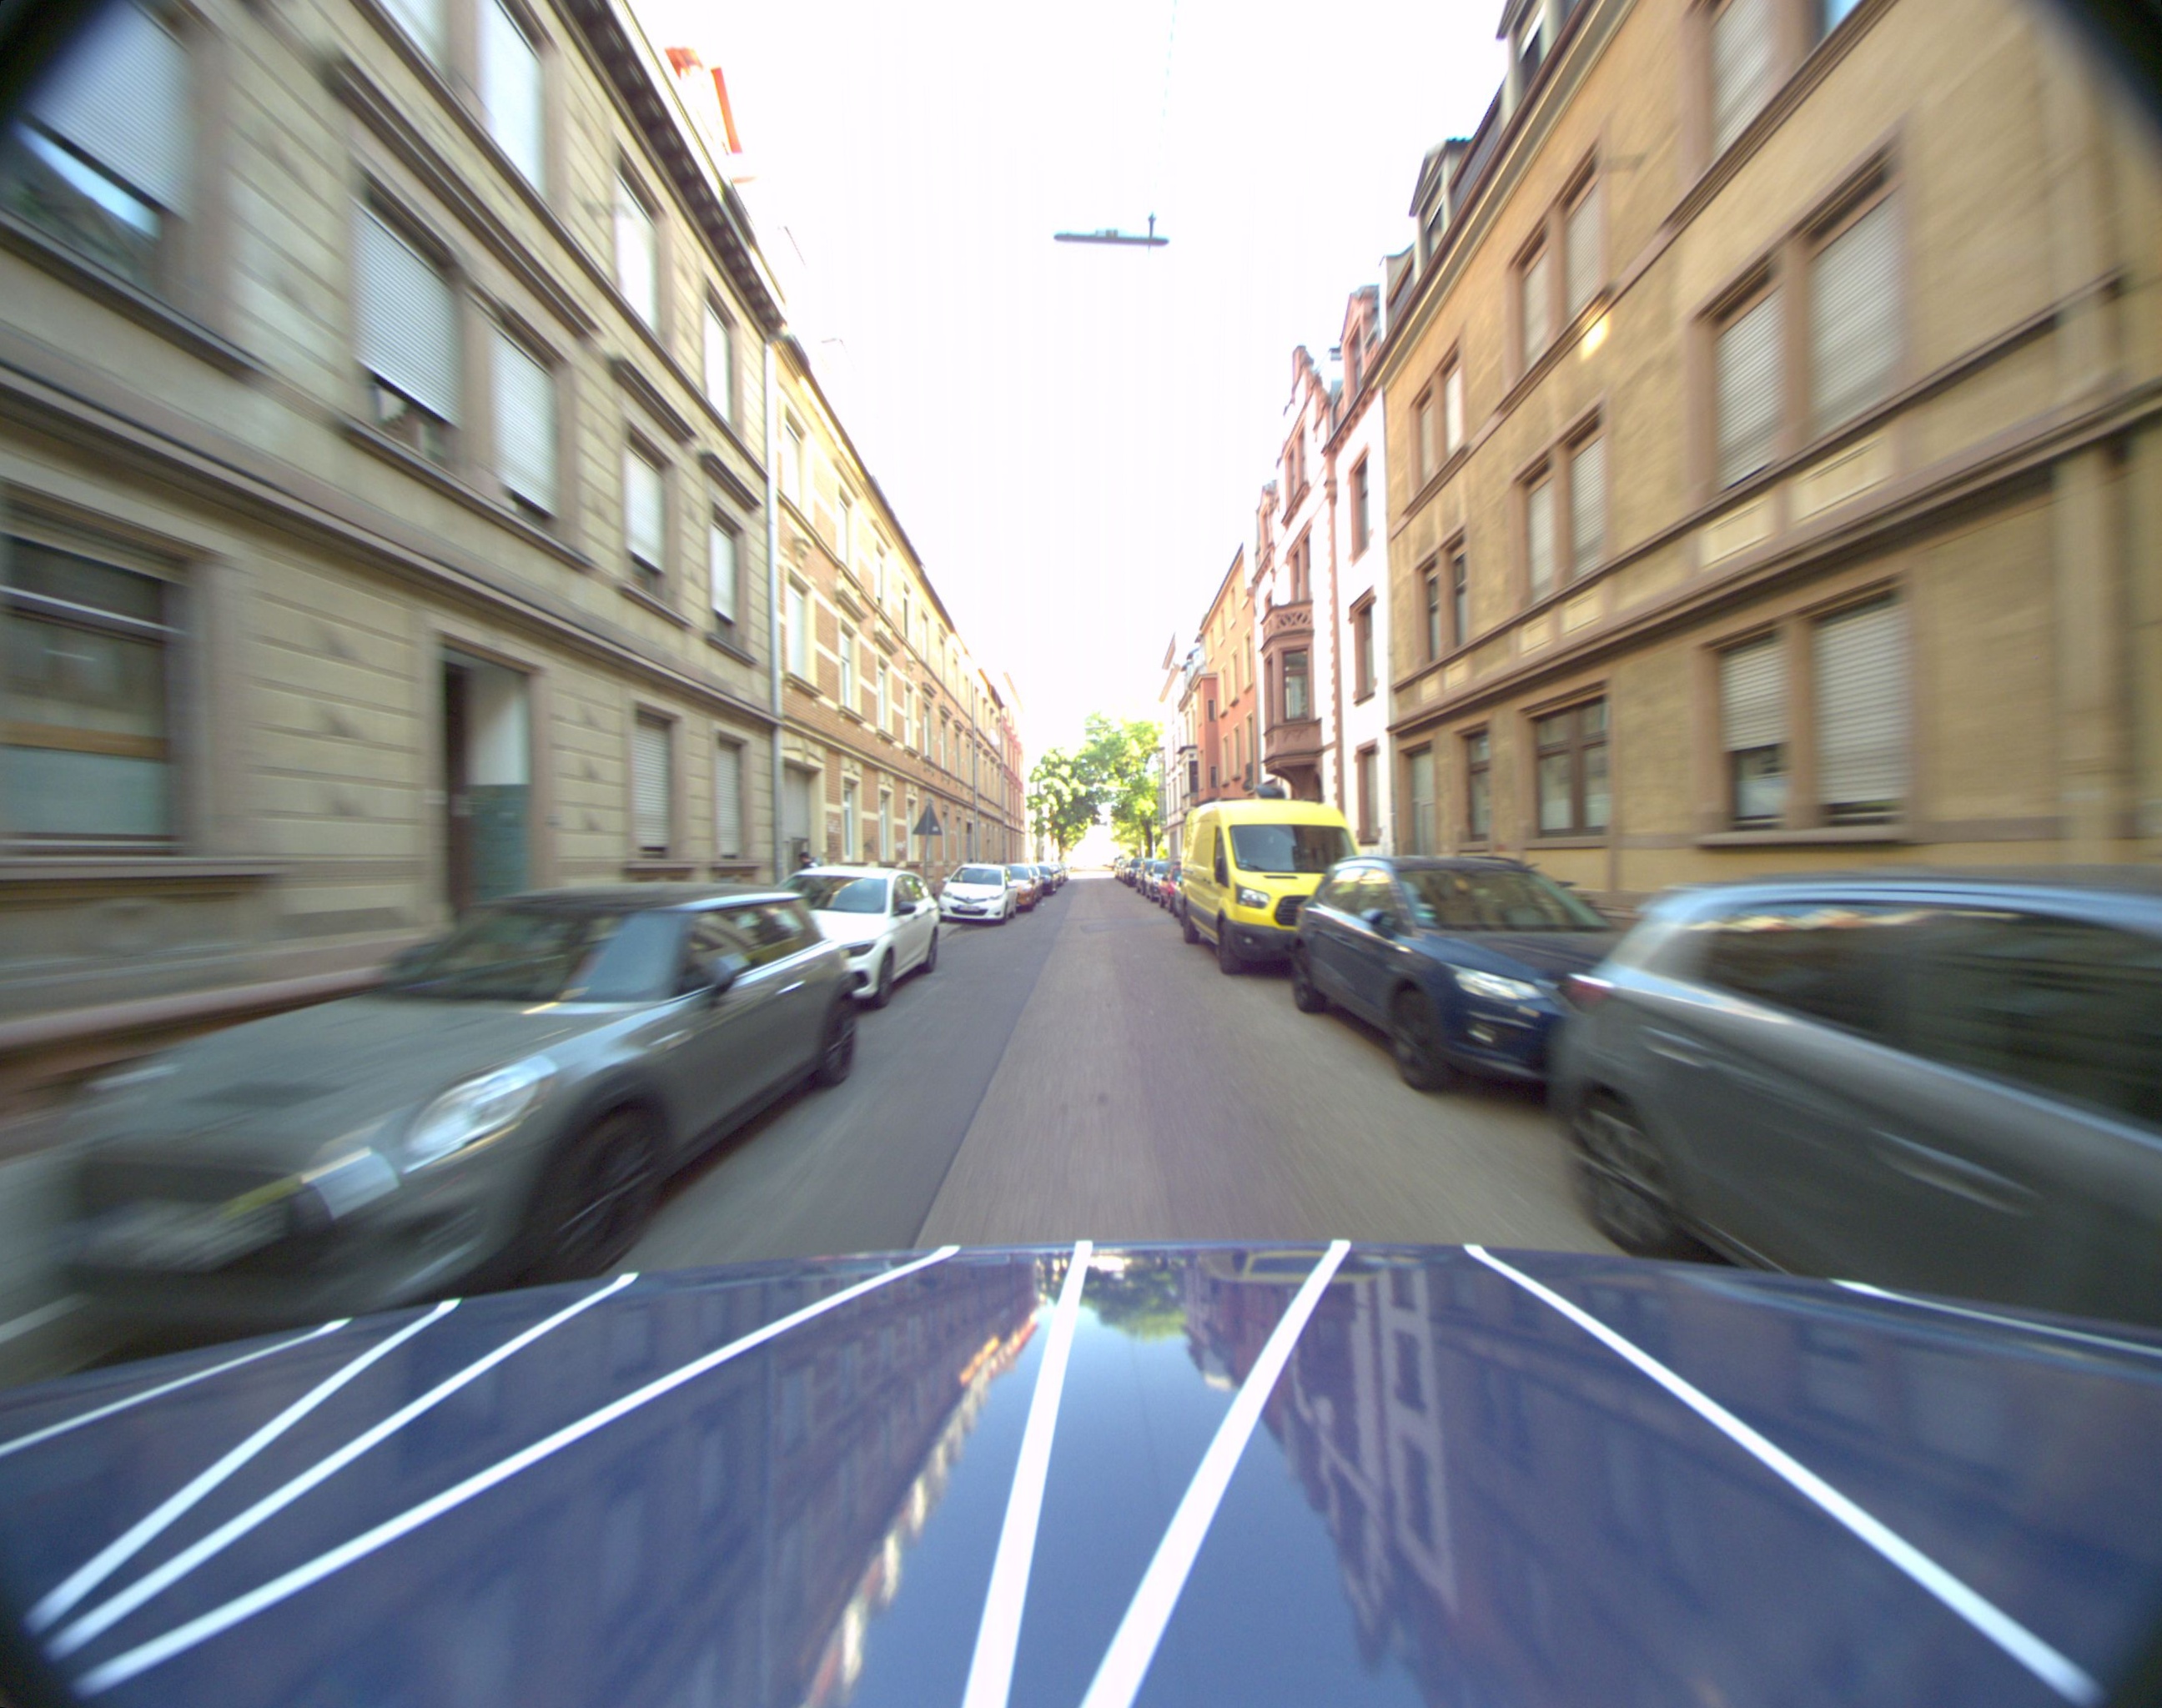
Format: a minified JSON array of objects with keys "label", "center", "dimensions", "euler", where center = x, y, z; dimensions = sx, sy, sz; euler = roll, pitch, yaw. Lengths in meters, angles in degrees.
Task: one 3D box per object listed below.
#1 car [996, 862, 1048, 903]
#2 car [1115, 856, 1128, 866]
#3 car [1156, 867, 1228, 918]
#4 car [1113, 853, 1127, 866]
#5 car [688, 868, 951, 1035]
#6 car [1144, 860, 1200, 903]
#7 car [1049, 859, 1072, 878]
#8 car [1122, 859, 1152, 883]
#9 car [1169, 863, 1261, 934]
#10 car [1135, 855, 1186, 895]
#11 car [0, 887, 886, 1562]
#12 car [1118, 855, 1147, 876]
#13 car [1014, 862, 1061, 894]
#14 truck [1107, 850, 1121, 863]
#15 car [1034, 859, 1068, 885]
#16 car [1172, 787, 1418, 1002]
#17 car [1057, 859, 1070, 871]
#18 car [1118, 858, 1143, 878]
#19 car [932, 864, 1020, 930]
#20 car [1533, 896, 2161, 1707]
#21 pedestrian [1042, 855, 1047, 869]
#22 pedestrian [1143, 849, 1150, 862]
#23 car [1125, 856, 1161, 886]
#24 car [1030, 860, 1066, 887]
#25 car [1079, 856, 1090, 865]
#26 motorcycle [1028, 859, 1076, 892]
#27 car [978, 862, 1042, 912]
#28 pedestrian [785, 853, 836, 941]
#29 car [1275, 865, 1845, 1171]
[{"label":"car","center":[-2.276,1.069,30.212],"dimensions":[1.730,1.409,4.093],"euler":[3,0,-1]},{"label":"car","center":[5.904,1.063,111.664],"dimensions":[1.731,1.455,3.845],"euler":[0,0,1]},{"label":"car","center":[3.263,1.106,22.896],"dimensions":[1.622,1.319,3.612],"euler":[2,0,0]},{"label":"car","center":[6.041,0.859,117.147],"dimensions":[1.998,1.946,5.043],"euler":[1,0,1]},{"label":"car","center":[-2.954,1.004,9.704],"dimensions":[1.758,1.509,4.443],"euler":[3,0,0]},{"label":"car","center":[3.395,1.007,28.884],"dimensions":[1.698,1.466,3.919],"euler":[1,0,1]},{"label":"car","center":[-1.661,1.150,62.967],"dimensions":[1.709,1.454,3.970],"euler":[-1,0,1]},{"label":"car","center":[3.562,1.074,48.884],"dimensions":[1.647,1.447,3.839],"euler":[1,0,0]},{"label":"car","center":[3.152,0.991,18.543],"dimensions":[1.722,1.404,3.898],"euler":[3,0,4]},{"label":"car","center":[3.457,0.889,33.713],"dimensions":[1.786,1.596,4.069],"euler":[-1,0,0]},{"label":"car","center":[-2.594,1.022,4.070],"dimensions":[1.758,1.444,4.288],"euler":[3,0,2]},{"label":"car","center":[3.689,0.809,54.921],"dimensions":[1.786,1.395,3.742],"euler":[-1,0,0]},{"label":"car","center":[-1.985,1.078,35.771],"dimensions":[1.781,1.388,4.318],"euler":[-1,0,1]},{"label":"truck","center":[6.675,0.474,155.760],"dimensions":[2.395,2.641,7.093],"euler":[-1,0,-1]},{"label":"car","center":[-1.819,1.083,47.080],"dimensions":[1.766,1.475,4.402],"euler":[-1,0,2]},{"label":"car","center":[2.867,0.484,11.869],"dimensions":[2.180,2.493,5.878],"euler":[1,0,0]},{"label":"car","center":[-2.237,1.397,97.820],"dimensions":[1.685,1.531,4.134],"euler":[0,0,0]},{"label":"car","center":[3.826,1.059,59.267],"dimensions":[1.785,1.474,3.743],"euler":[-1,0,2]},{"label":"car","center":[-2.707,1.076,20.499],"dimensions":[1.725,1.472,4.082],"euler":[3,0,0]},{"label":"car","center":[2.714,0.919,1.333],"dimensions":[1.681,1.441,3.645],"euler":[-2,0,1]},{"label":"pedestrian","center":[-4.962,1.071,103.135],"dimensions":[0.529,1.834,0.707],"euler":[-1,0,2]},{"label":"pedestrian","center":[8.551,0.207,98.521],"dimensions":[0.804,1.735,1.006],"euler":[-1,0,1]},{"label":"car","center":[3.498,0.938,43.530],"dimensions":[1.765,1.608,4.189],"euler":[-1,0,2]},{"label":"car","center":[-1.830,1.075,42.906],"dimensions":[1.696,1.398,3.993],"euler":[-1,0,2]},{"label":"car","center":[0.587,1.144,132.502],"dimensions":[1.812,1.412,4.000],"euler":[-1,0,1]},{"label":"motorcycle","center":[-1.486,1.106,39.318],"dimensions":[2.229,1.527,0.888],"euler":[-3,0,-25]},{"label":"car","center":[-2.283,1.046,25.466],"dimensions":[1.758,1.437,4.068],"euler":[2,0,-1]},{"label":"pedestrian","center":[-5.268,0.807,14.784],"dimensions":[0.657,1.621,0.878],"euler":[0,1,-41]},{"label":"car","center":[3.036,0.898,6.004],"dimensions":[1.998,1.543,4.000],"euler":[-1,0,0]}]
